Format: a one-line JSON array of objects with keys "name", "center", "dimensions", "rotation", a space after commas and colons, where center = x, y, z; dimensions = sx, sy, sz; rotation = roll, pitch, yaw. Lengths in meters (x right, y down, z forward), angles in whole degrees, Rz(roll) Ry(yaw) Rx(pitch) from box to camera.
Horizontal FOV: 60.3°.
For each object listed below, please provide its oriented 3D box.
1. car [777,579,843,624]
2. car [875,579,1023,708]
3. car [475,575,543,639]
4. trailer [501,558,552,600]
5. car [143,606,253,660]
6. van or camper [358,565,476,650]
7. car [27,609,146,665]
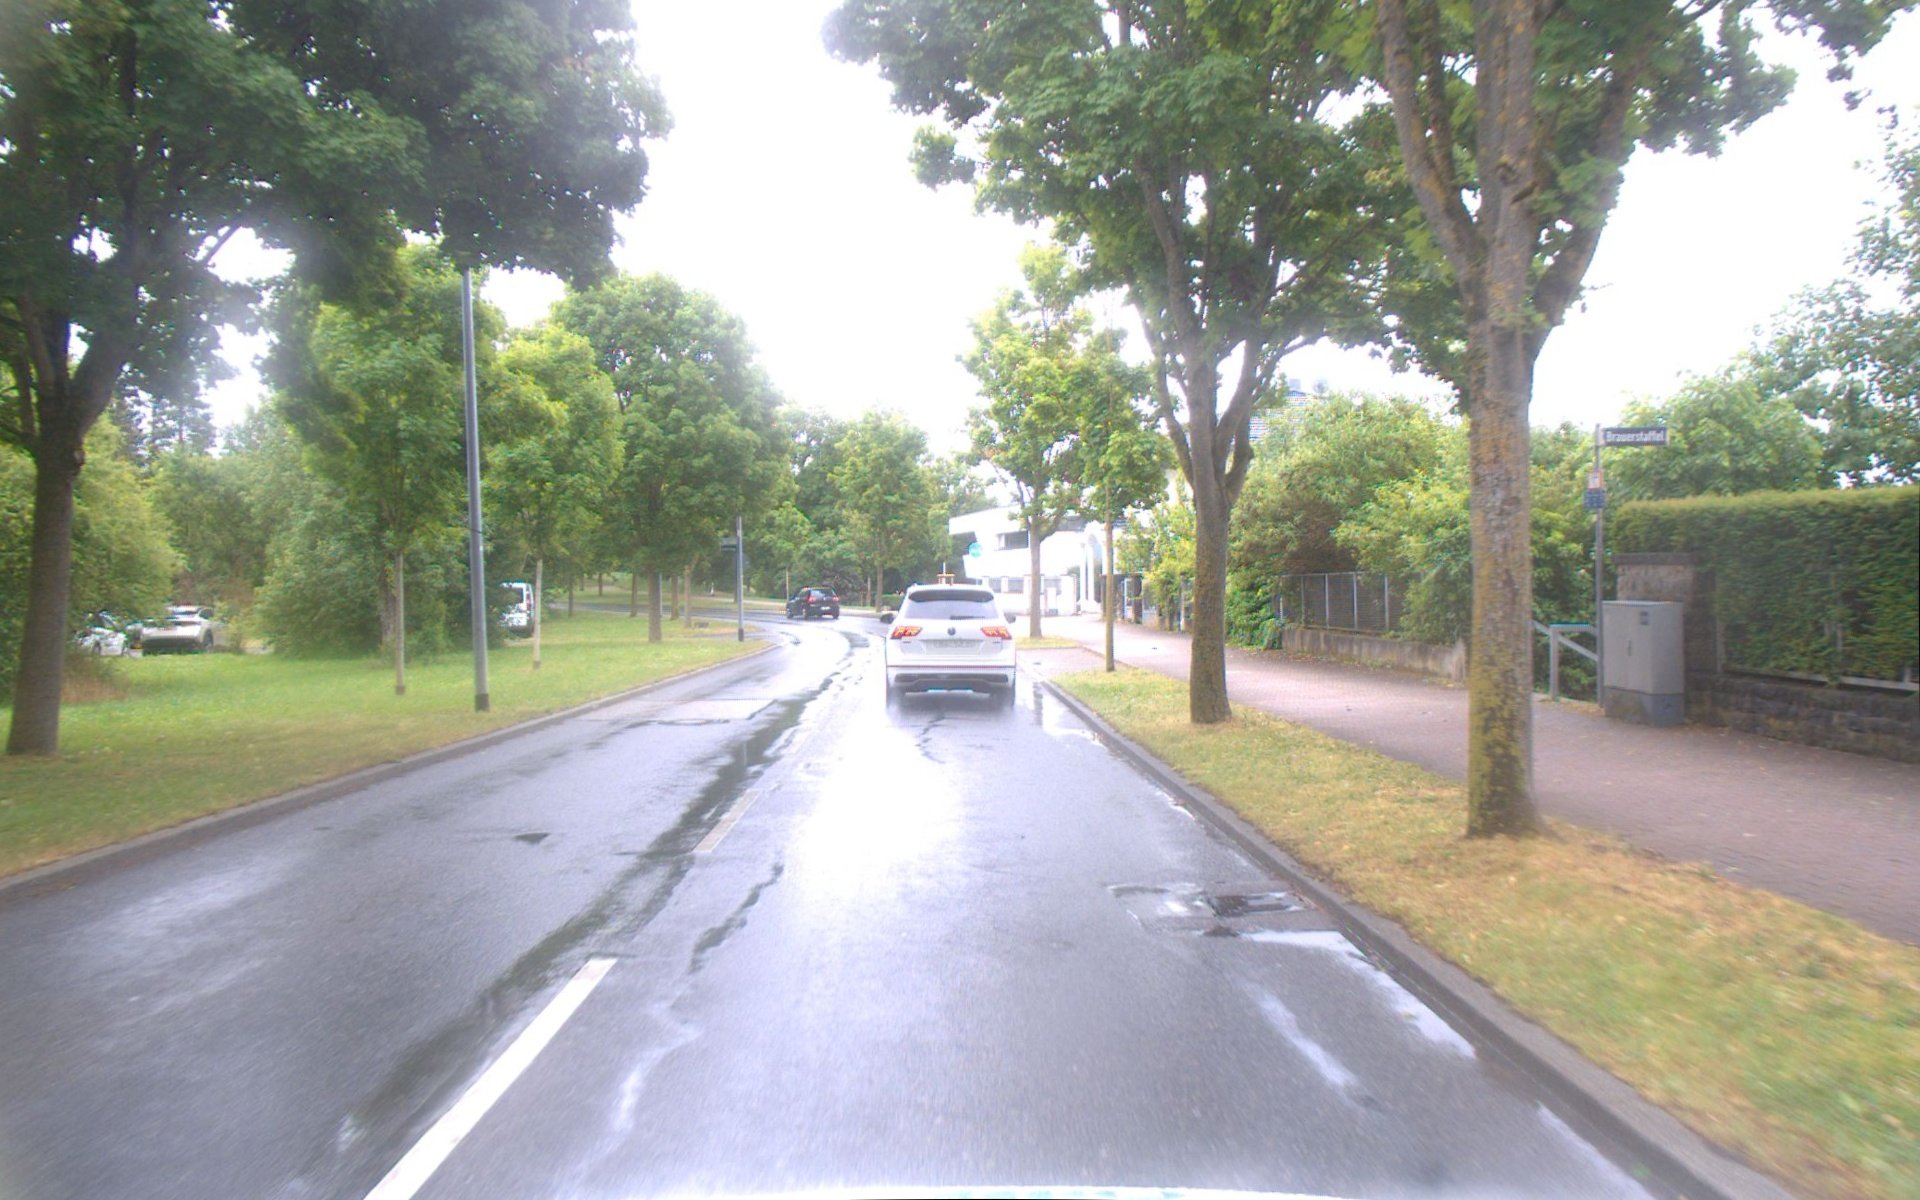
[{"name": "car", "center": [-7.182, 0.052, 78.913], "dimensions": [1.877, 2.049, 3.913], "rotation": [1, 0, -25]}, {"name": "car", "center": [-0.160, 0.556, 23.841], "dimensions": [1.934, 1.681, 4.177], "rotation": [0, 0, -1]}, {"name": "car", "center": [-17.178, 0.213, 63.184], "dimensions": [2.090, 2.020, 5.460], "rotation": [-3, 4, -12]}, {"name": "trailer", "center": [-32.403, -1.585, 123.570], "dimensions": [1.975, 2.855, 5.549], "rotation": [-7, 5, -31]}, {"name": "car", "center": [-23.548, 1.025, 51.286], "dimensions": [1.757, 1.564, 4.993], "rotation": [-1, -1, -9]}, {"name": "van or camper", "center": [-16.875, 0.212, 51.751], "dimensions": [2.340, 2.402, 6.797], "rotation": [-2, 0, -9]}, {"name": "car", "center": [-26.909, 1.108, 51.088], "dimensions": [1.818, 1.608, 4.344], "rotation": [-1, 0, -8]}]
